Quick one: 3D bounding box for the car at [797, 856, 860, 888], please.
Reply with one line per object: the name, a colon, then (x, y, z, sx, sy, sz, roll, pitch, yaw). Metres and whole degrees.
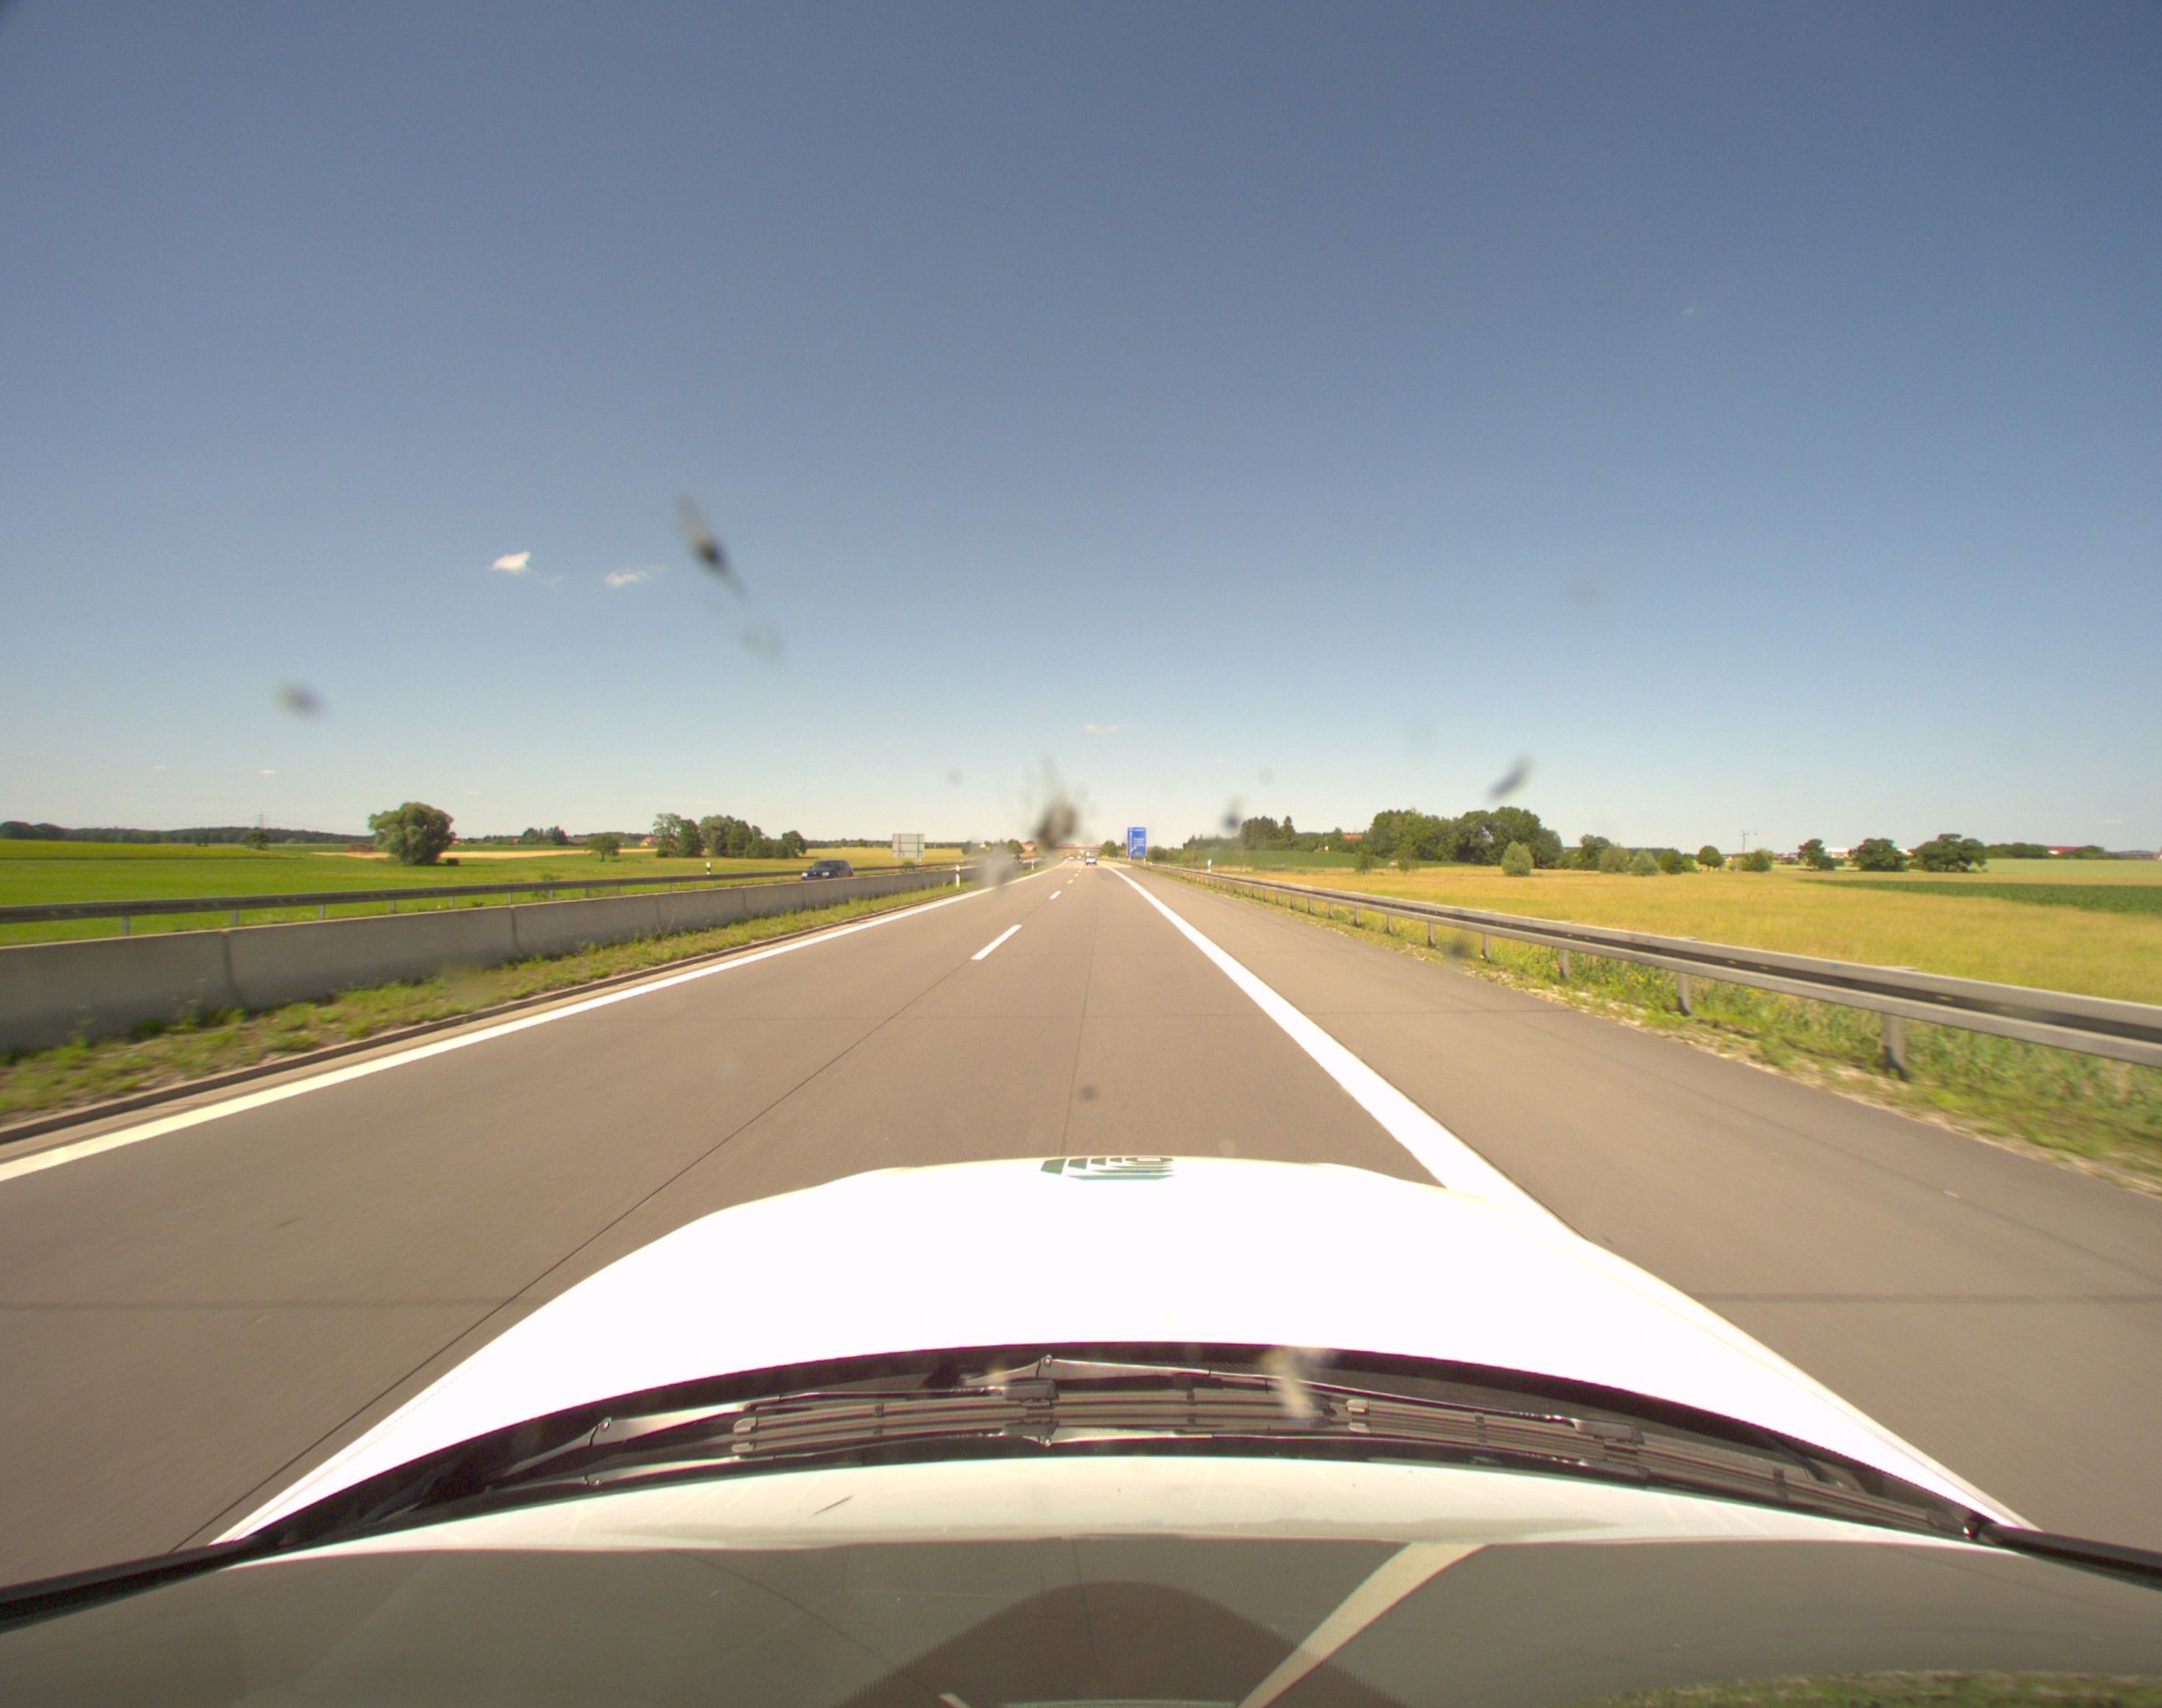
car: (-13.680, 0.910, 44.362, 1.852, 1.584, 4.914, -1, 0, 0)

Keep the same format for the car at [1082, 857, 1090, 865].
car: (1.197, 1.677, 192.243, 1.987, 1.731, 4.869, 0, 0, 1)

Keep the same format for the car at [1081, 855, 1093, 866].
car: (1.078, 1.124, 140.446, 1.987, 1.731, 4.868, 0, 0, 0)

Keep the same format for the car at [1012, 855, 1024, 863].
car: (-12.709, 1.016, 165.014, 1.892, 1.523, 4.805, -1, 0, 0)

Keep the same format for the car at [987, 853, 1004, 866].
car: (-12.878, 0.854, 122.467, 1.947, 1.842, 5.449, -1, 0, 0)

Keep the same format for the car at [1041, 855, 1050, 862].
car: (-8.563, 1.105, 198.933, 1.892, 1.523, 4.805, -1, 0, 0)
